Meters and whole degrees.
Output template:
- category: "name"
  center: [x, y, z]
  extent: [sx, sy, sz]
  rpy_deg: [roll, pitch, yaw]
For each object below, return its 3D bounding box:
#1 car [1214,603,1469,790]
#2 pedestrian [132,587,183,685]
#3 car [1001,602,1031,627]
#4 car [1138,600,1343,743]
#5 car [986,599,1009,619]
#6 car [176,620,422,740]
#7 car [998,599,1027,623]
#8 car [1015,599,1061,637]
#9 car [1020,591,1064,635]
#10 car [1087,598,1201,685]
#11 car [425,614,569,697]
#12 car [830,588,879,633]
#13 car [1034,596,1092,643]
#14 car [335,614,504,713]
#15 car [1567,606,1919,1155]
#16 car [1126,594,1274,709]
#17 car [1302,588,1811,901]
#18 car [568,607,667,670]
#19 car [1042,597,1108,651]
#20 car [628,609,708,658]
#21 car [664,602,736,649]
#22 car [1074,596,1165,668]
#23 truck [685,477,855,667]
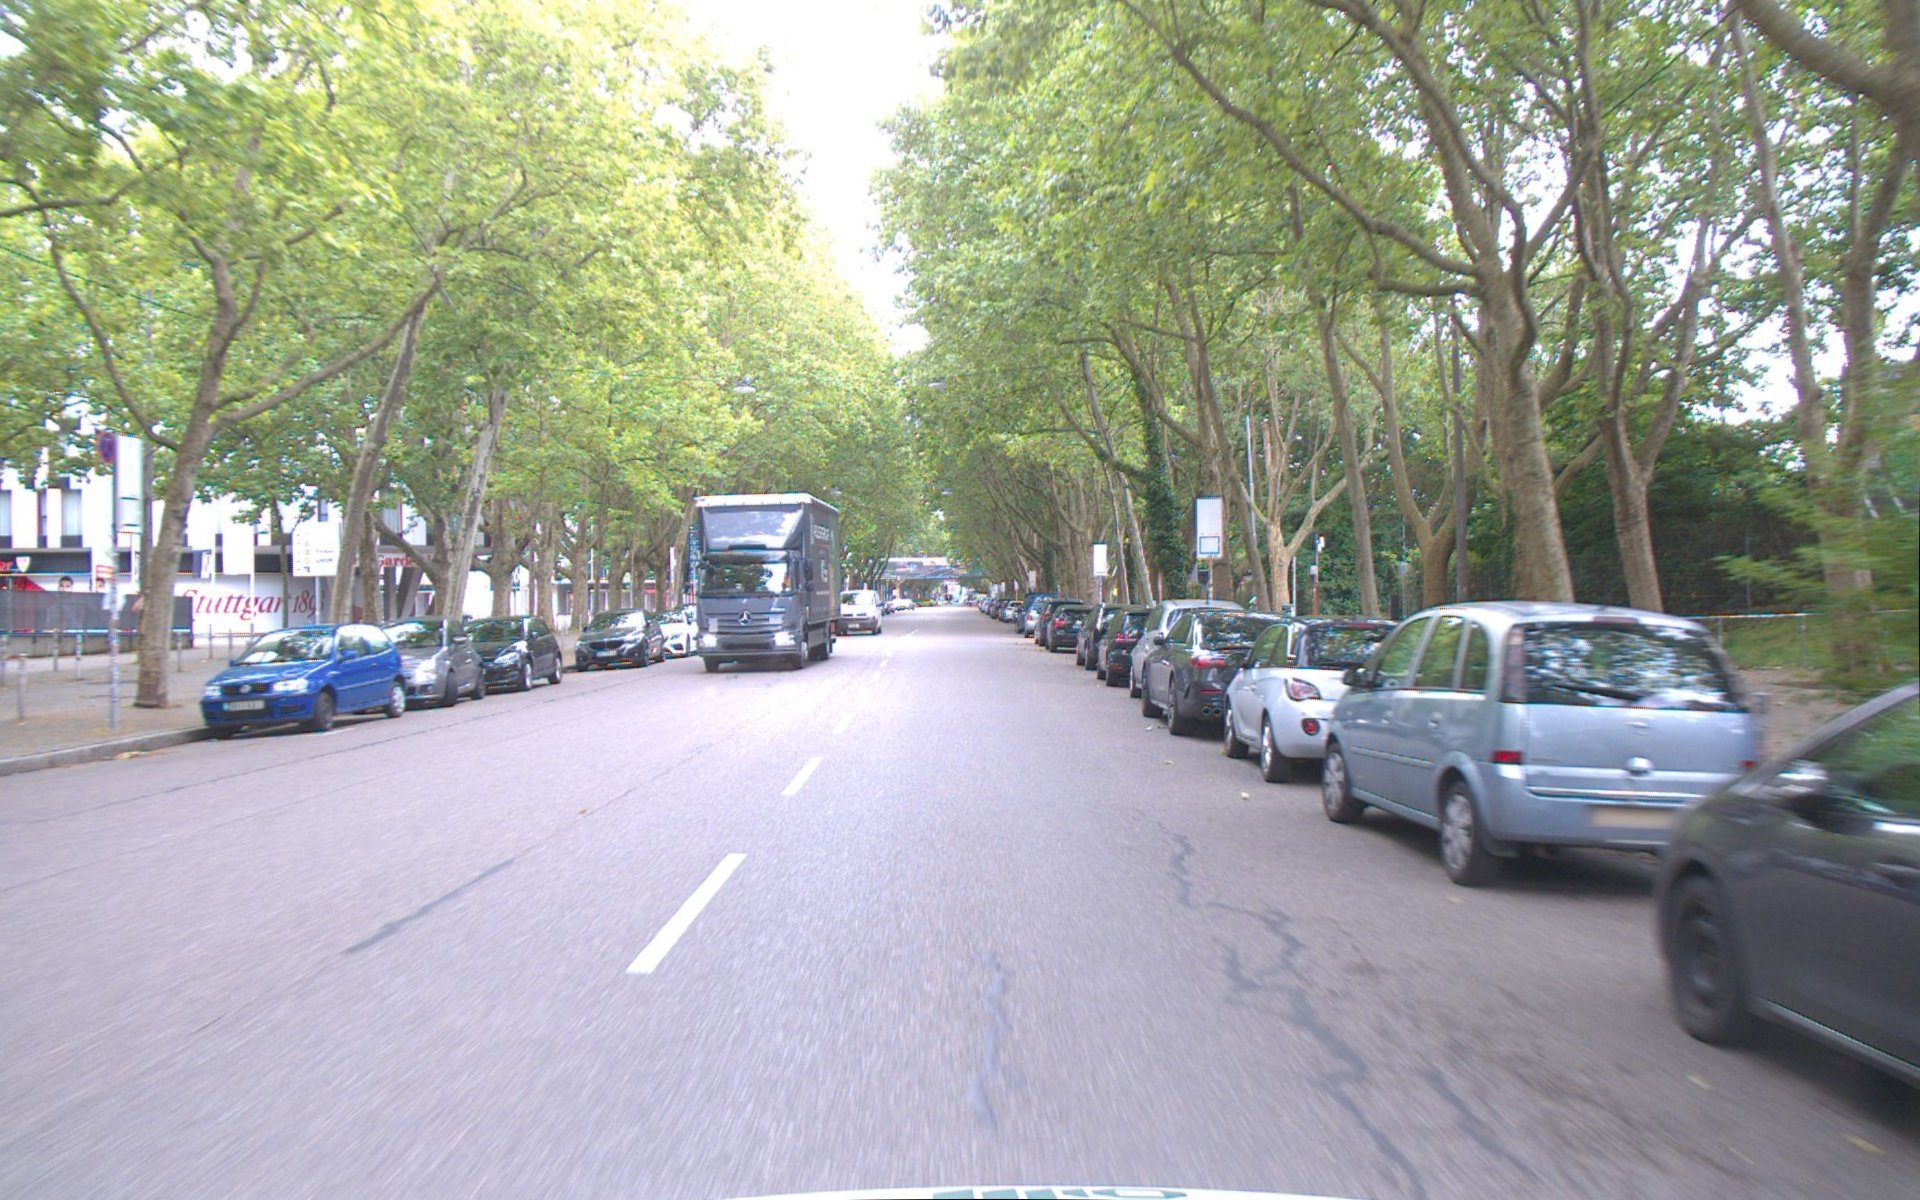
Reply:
- category: "car"
  center: [3.563, 0.838, 16.055]
  extent: [1.641, 1.516, 3.687]
  rpy_deg: [3, 0, 1]
- category: "pedestrian"
  center: [-15.519, 0.679, 31.995]
  extent: [0.763, 1.867, 0.868]
  rpy_deg: [0, 0, -35]
- category: "car"
  center: [3.622, 0.930, 107.190]
  extent: [1.720, 1.561, 3.928]
  rpy_deg: [-3, 0, -1]
- category: "car"
  center: [3.391, 0.812, 20.795]
  extent: [1.720, 1.516, 4.416]
  rpy_deg: [3, 0, -1]
- category: "car"
  center: [3.017, 0.723, 134.213]
  extent: [1.720, 1.561, 3.928]
  rpy_deg: [2, 0, 0]
- category: "car"
  center: [-9.103, 1.054, 23.106]
  extent: [1.660, 1.443, 3.763]
  rpy_deg: [-4, -1, 4]
- category: "car"
  center: [3.554, 0.767, 112.455]
  extent: [1.720, 1.561, 3.928]
  rpy_deg: [-2, 0, -1]
- category: "car"
  center: [3.310, 0.762, 70.925]
  extent: [1.720, 1.561, 3.928]
  rpy_deg: [2, 0, 0]
- category: "car"
  center: [3.827, 0.602, 78.128]
  extent: [1.721, 1.847, 3.929]
  rpy_deg: [-5, 1, 0]
- category: "car"
  center: [3.529, 0.772, 32.326]
  extent: [1.720, 1.561, 3.928]
  rpy_deg: [2, 0, 0]
- category: "car"
  center: [-9.017, 1.063, 32.509]
  extent: [1.730, 1.443, 3.760]
  rpy_deg: [-4, -1, -1]
- category: "car"
  center: [-4.681, 0.450, 73.978]
  extent: [1.940, 1.967, 4.112]
  rpy_deg: [0, 0, -1]
- category: "car"
  center: [3.538, 0.637, 57.204]
  extent: [1.720, 1.561, 3.928]
  rpy_deg: [0, 0, 0]
- category: "car"
  center: [-8.994, 1.044, 27.836]
  extent: [1.731, 1.443, 3.758]
  rpy_deg: [-3, -1, -3]
- category: "car"
  center: [3.599, 0.853, 5.184]
  extent: [1.664, 1.545, 4.453]
  rpy_deg: [3, 0, -1]
- category: "car"
  center: [3.709, 0.762, 26.170]
  extent: [1.720, 1.625, 3.928]
  rpy_deg: [2, 0, 0]
- category: "car"
  center: [3.632, 0.785, 10.920]
  extent: [1.685, 1.594, 4.092]
  rpy_deg: [3, 0, -2]
- category: "car"
  center: [-8.749, 0.992, 42.574]
  extent: [1.730, 1.443, 3.760]
  rpy_deg: [-4, -1, -1]
- category: "car"
  center: [3.531, 0.739, 51.313]
  extent: [1.720, 1.561, 3.928]
  rpy_deg: [2, 0, 0]
- category: "car"
  center: [-8.734, 1.037, 49.754]
  extent: [1.697, 1.355, 3.999]
  rpy_deg: [-2, -2, -1]
- category: "car"
  center: [-8.677, 0.891, 55.470]
  extent: [1.857, 1.463, 3.998]
  rpy_deg: [-2, -2, -2]
- category: "car"
  center: [3.718, 0.729, 39.104]
  extent: [1.720, 1.561, 3.928]
  rpy_deg: [2, 0, 0]
- category: "truck"
  center: [-4.367, -0.584, 40.111]
  extent: [2.586, 3.970, 9.542]
  rpy_deg: [-2, 0, 2]
